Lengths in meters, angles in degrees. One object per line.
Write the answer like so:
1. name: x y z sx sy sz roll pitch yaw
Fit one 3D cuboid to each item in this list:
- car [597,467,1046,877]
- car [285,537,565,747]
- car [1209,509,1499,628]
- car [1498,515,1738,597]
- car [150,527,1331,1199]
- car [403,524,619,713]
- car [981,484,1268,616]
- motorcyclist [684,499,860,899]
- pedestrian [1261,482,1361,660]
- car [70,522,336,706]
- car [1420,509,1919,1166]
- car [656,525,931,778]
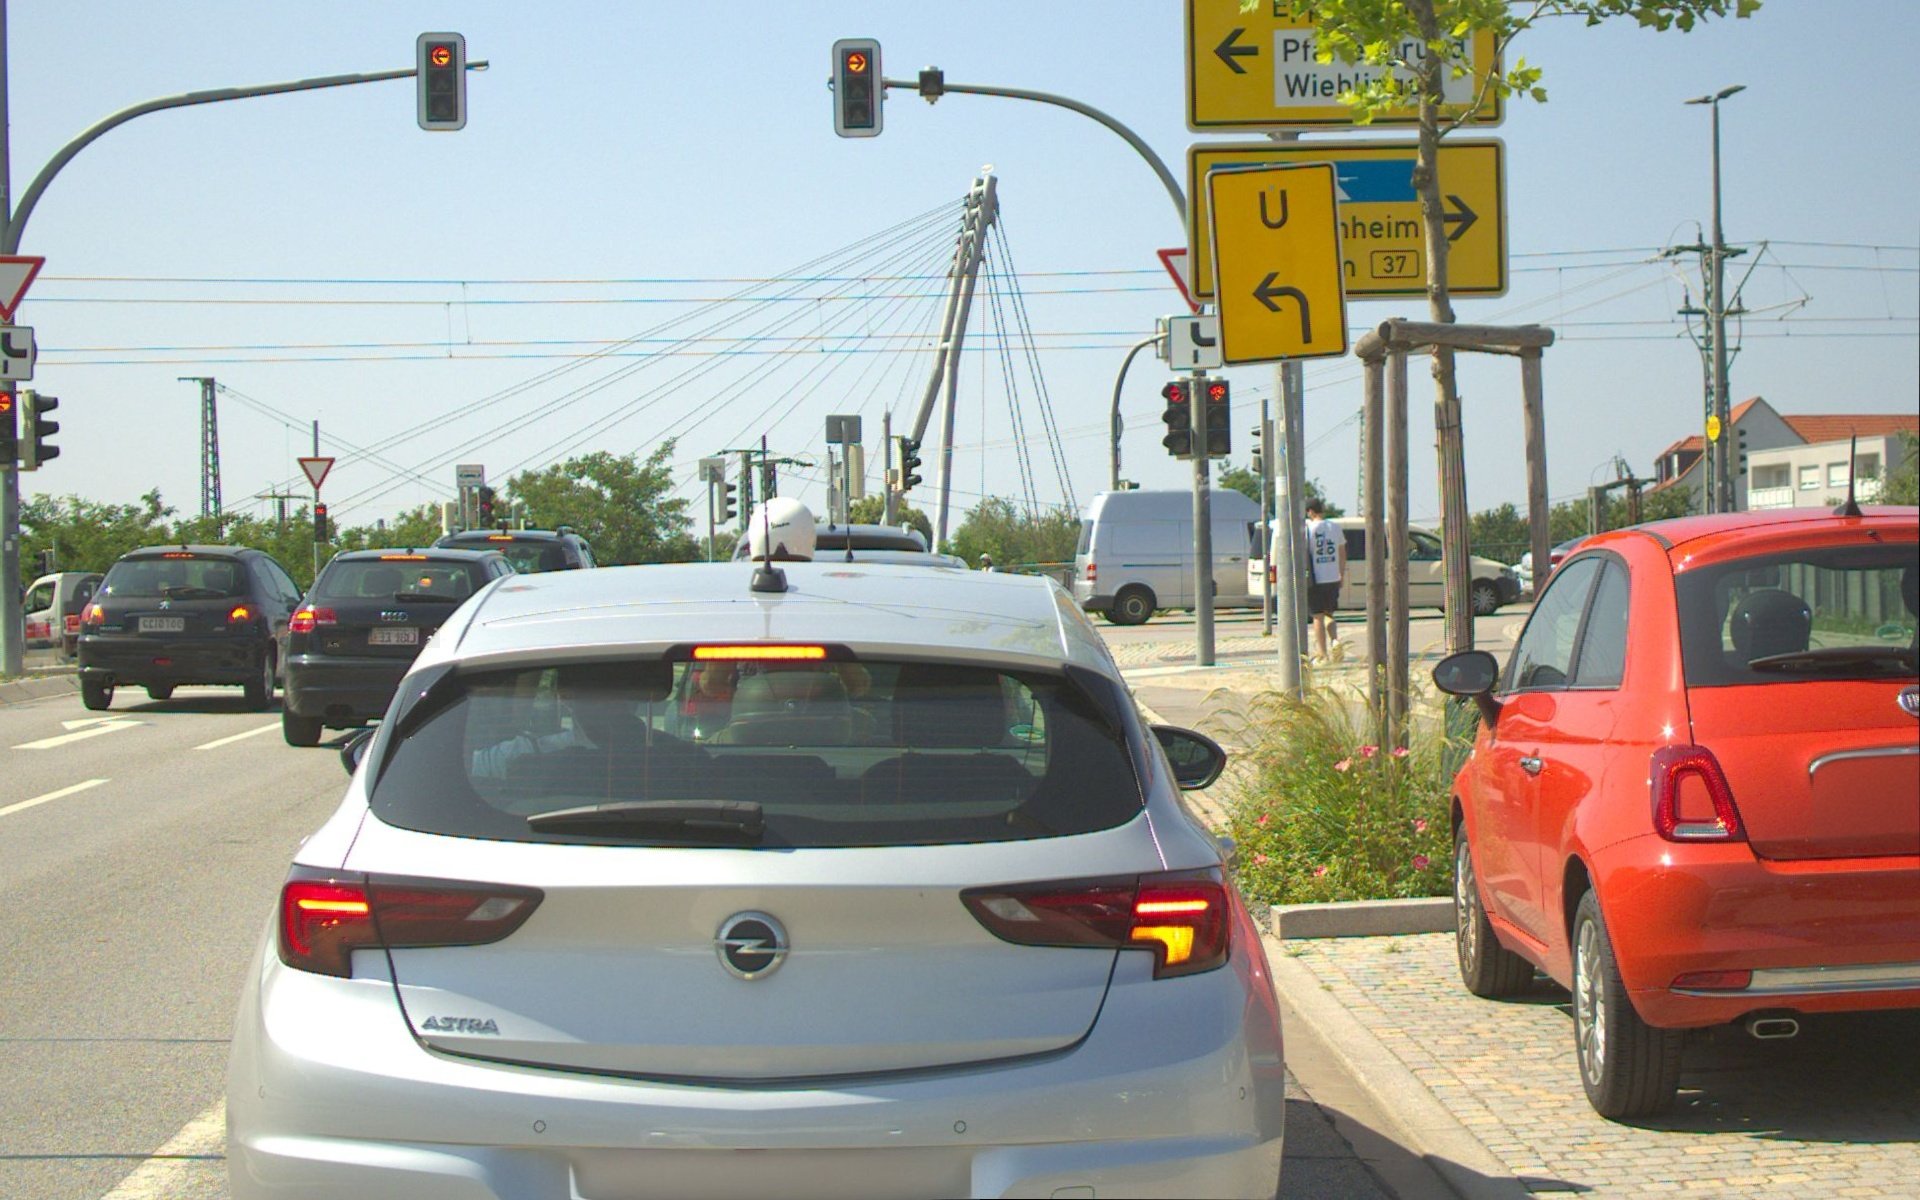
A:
1. car: -0.648 0.266 17.632 1.993 1.814 4.402 1 2 -1
2. car: -3.924 0.273 25.697 1.575 1.429 3.786 1 1 -1
3. car: 6.915 -0.550 60.634 4.701 2.007 2.000 1 0 -8
4. car: 12.490 -0.828 65.371 3.986 1.477 2.001 1 1 -12
5. car: -0.430 0.618 7.118 1.742 1.473 4.001 1 1 -3
6. car: -4.066 0.139 31.623 1.649 1.610 3.821 1 1 -3
7. car: 2.992 -0.907 62.943 4.999 2.368 1.784 0 0 -8
8. motorcyclist: -0.664 0.341 12.313 0.581 1.384 0.707 1 0 -1
9. pedestrian: 3.648 -0.303 35.686 0.796 1.830 0.649 -1 1 -44
10. car: -6.762 0.101 31.049 1.597 1.542 3.762 1 1 -1
11. car: 2.342 0.514 9.726 1.610 1.491 3.352 -2 1 1
12. car: -1.075 0.284 23.844 1.724 1.558 4.000 1 2 0
